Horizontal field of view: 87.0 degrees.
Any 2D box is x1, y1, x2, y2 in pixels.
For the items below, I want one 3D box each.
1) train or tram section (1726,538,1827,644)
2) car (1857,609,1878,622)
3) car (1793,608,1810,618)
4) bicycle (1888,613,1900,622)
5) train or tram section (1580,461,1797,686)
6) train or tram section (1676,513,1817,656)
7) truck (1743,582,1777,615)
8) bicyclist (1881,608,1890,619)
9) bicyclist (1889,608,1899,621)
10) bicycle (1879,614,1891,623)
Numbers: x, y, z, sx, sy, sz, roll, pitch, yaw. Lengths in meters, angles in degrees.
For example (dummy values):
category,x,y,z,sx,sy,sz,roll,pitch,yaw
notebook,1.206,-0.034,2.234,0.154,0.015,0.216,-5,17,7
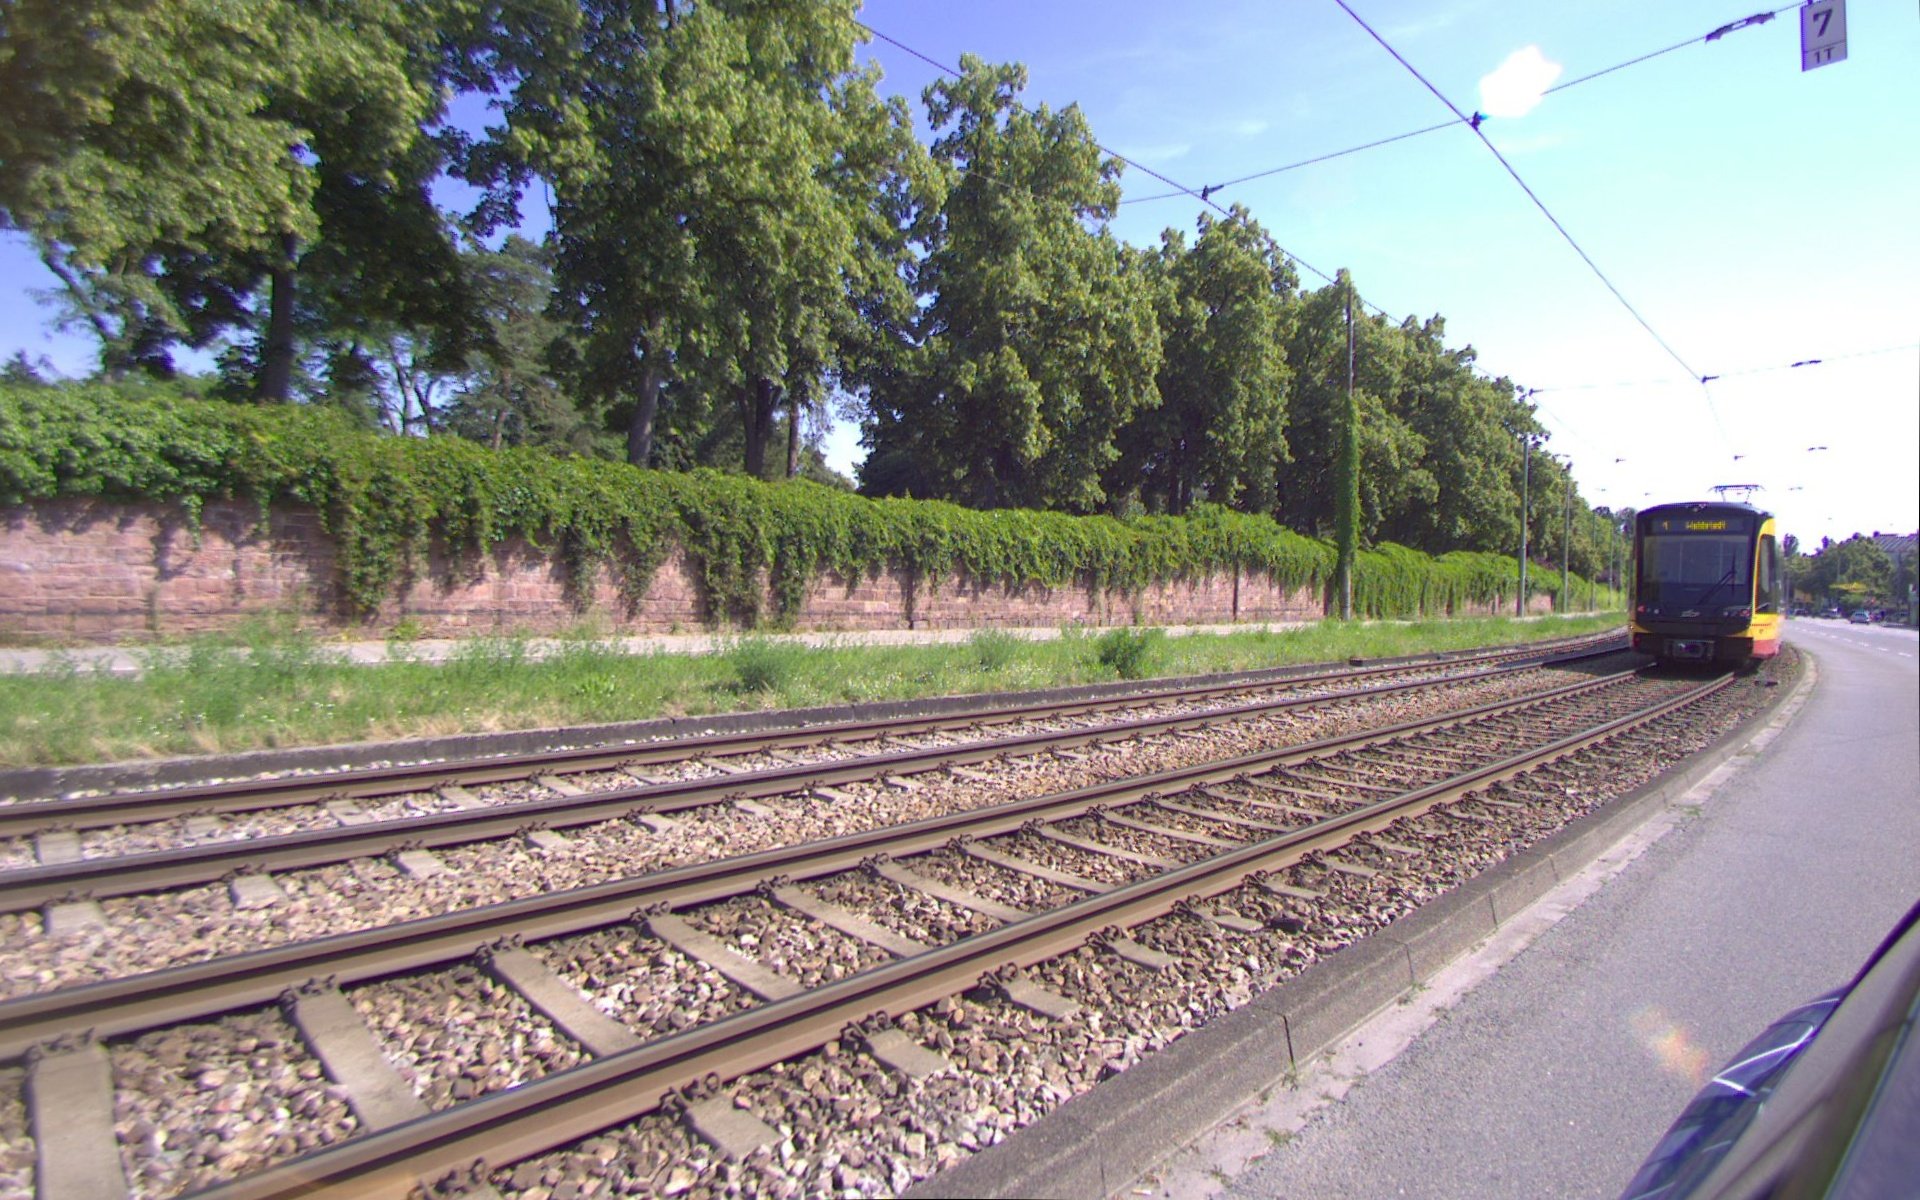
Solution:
category,x,y,z,sx,sy,sz,roll,pitch,yaw
train or tram section,34.375,-0.348,42.367,2.510,3.793,13.107,3,2,42
car,109.081,1.868,121.705,1.657,1.438,4.247,4,2,40
car,152.336,2.393,183.277,1.813,1.693,3.953,2,-1,32
bicycle,128.284,2.457,139.033,0.936,1.190,2.180,3,1,38
train or tram section,16.879,-0.472,22.849,2.510,3.793,13.108,3,2,42
train or tram section,25.625,-0.434,32.612,2.511,3.793,13.106,3,2,42
truck,106.038,-0.176,134.205,2.839,4.057,14.114,3,1,36
bicyclist,126.303,1.864,138.139,0.704,1.438,0.731,2,-1,29
bicyclist,128.205,1.970,138.917,0.833,1.695,0.816,2,-1,37
bicycle,126.394,2.511,138.278,0.746,1.071,2.055,3,1,28
